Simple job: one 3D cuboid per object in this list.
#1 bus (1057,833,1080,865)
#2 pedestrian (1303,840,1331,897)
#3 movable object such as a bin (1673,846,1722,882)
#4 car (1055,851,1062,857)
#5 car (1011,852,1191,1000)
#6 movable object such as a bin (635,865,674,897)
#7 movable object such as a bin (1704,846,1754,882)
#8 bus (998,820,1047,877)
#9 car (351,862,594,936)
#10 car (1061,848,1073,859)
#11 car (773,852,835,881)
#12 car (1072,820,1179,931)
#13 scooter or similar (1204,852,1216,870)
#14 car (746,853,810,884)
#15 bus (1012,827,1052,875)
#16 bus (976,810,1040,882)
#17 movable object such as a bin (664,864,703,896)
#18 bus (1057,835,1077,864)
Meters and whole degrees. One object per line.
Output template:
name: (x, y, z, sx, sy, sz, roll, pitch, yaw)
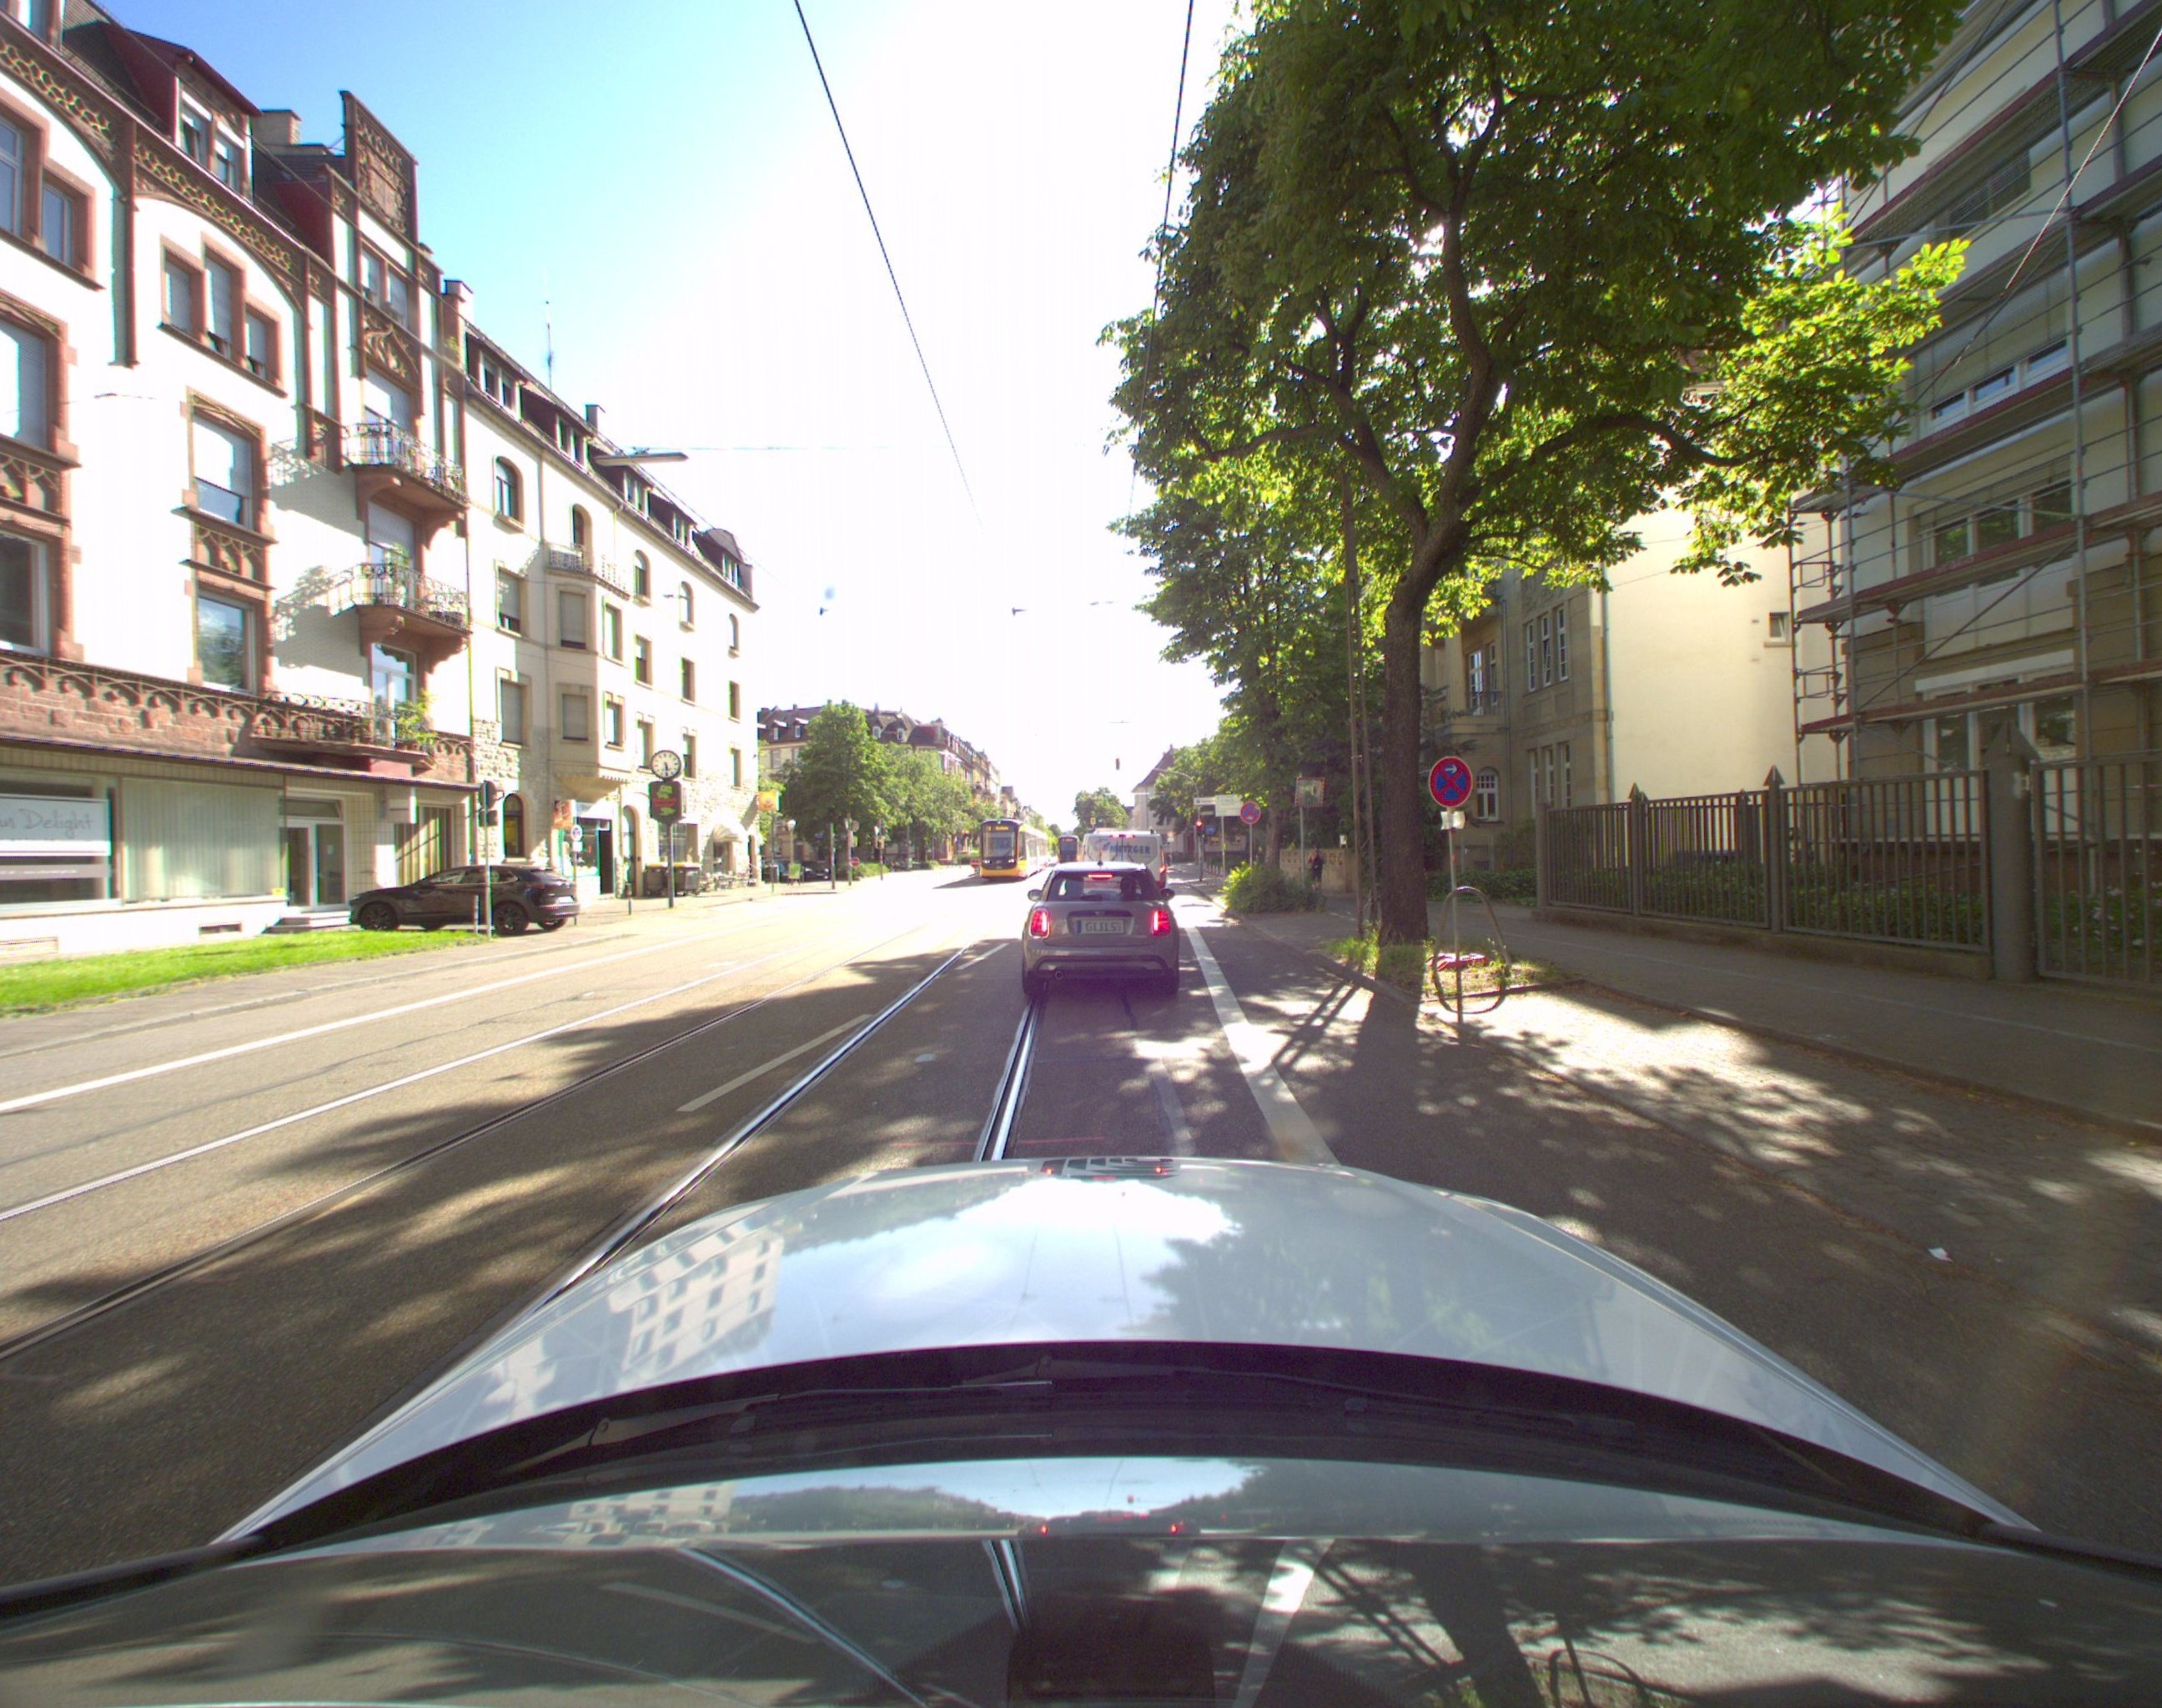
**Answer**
bus: (-1.505, -0.521, 94.290, 2.379, 3.496, 7.377, 0, -1, -2)
pedestrian: (7.192, 0.433, 24.844, 0.590, 1.671, 0.647, -3, -1, 1)
movable object such as a bin: (16.676, 0.276, 22.037, 0.831, 0.955, 0.648, 0, -1, 0)
car: (-6.211, -0.031, 223.001, 1.771, 1.618, 3.997, 0, -1, -2)
car: (0.262, 0.744, 10.223, 1.808, 1.488, 4.001, 0, -1, 2)
movable object such as a bin: (-16.966, 1.068, 32.415, 0.829, 1.223, 1.245, 0, -1, 4)
movable object such as a bin: (17.542, 0.270, 22.049, 0.831, 0.955, 0.648, 0, -1, 0)
bus: (-4.159, -0.299, 60.003, 2.851, 3.777, 11.179, 0, 0, -1)
car: (-13.589, 0.991, 18.396, 3.981, 1.503, 1.768, 1, -1, -6)
car: (-2.163, -0.066, 127.469, 1.859, 1.563, 3.997, 0, -1, -2)
car: (-19.493, 0.871, 57.248, 3.949, 2.014, 2.012, -1, -1, 30)
car: (0.968, 0.447, 18.653, 2.110, 2.208, 4.946, 0, -1, 2)
scooter or similar: (9.317, 0.496, 58.761, 0.673, 1.310, 1.329, 0, -1, 1)
car: (-20.551, 0.991, 55.194, 3.949, 2.014, 2.012, -1, -1, 30)
bus: (-4.192, -0.194, 71.525, 2.841, 3.777, 12.193, 0, 0, 0)
bus: (-4.165, -0.390, 48.677, 2.851, 3.777, 11.494, 0, 0, -1)
movable object such as a bin: (-16.019, 1.048, 32.823, 0.941, 1.273, 1.145, 0, -1, 5)
bus: (-1.782, -0.473, 101.713, 2.379, 3.496, 7.377, 0, -1, -2)
